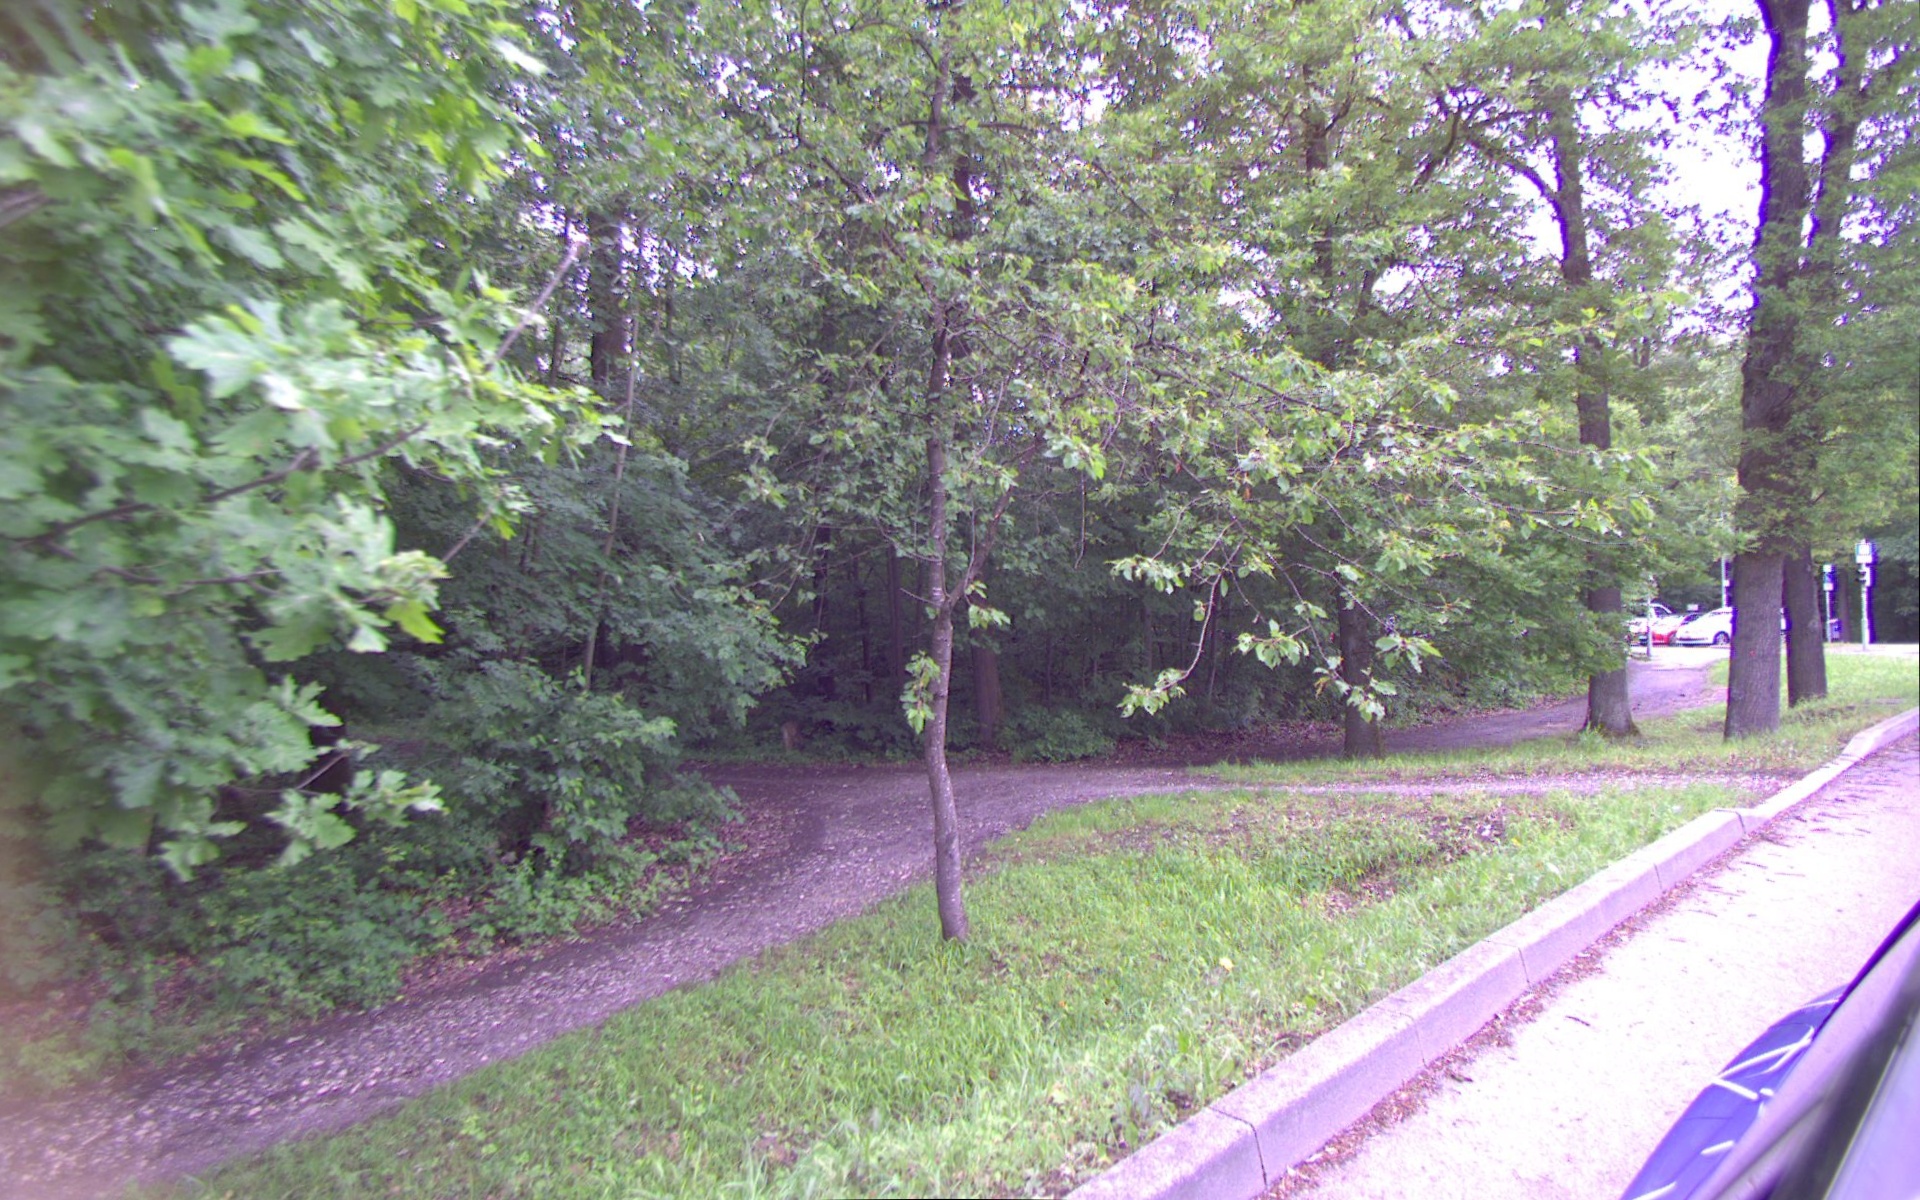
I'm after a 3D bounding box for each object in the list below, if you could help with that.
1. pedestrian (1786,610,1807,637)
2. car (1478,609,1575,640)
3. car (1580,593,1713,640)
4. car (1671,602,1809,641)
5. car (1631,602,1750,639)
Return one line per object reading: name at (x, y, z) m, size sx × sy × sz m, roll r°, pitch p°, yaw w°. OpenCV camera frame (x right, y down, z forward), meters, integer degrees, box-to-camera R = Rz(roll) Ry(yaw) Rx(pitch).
pedestrian at (52.826, 1.477, 63.925) m, size 1.018 × 1.672 × 0.831 m, roll 2°, pitch -3°, yaw -44°
car at (30.586, 1.319, 54.678) m, size 4.437 × 1.578 × 1.846 m, roll 0°, pitch -2°, yaw -13°
car at (32.190, 0.789, 47.520) m, size 5.076 × 1.983 × 2.065 m, roll -2°, pitch -2°, yaw -10°
car at (32.584, 0.910, 42.359) m, size 4.331 × 1.572 × 2.001 m, roll -1°, pitch -2°, yaw -6°
car at (32.341, 0.933, 44.875) m, size 3.919 × 1.572 × 1.896 m, roll -1°, pitch -2°, yaw -6°
